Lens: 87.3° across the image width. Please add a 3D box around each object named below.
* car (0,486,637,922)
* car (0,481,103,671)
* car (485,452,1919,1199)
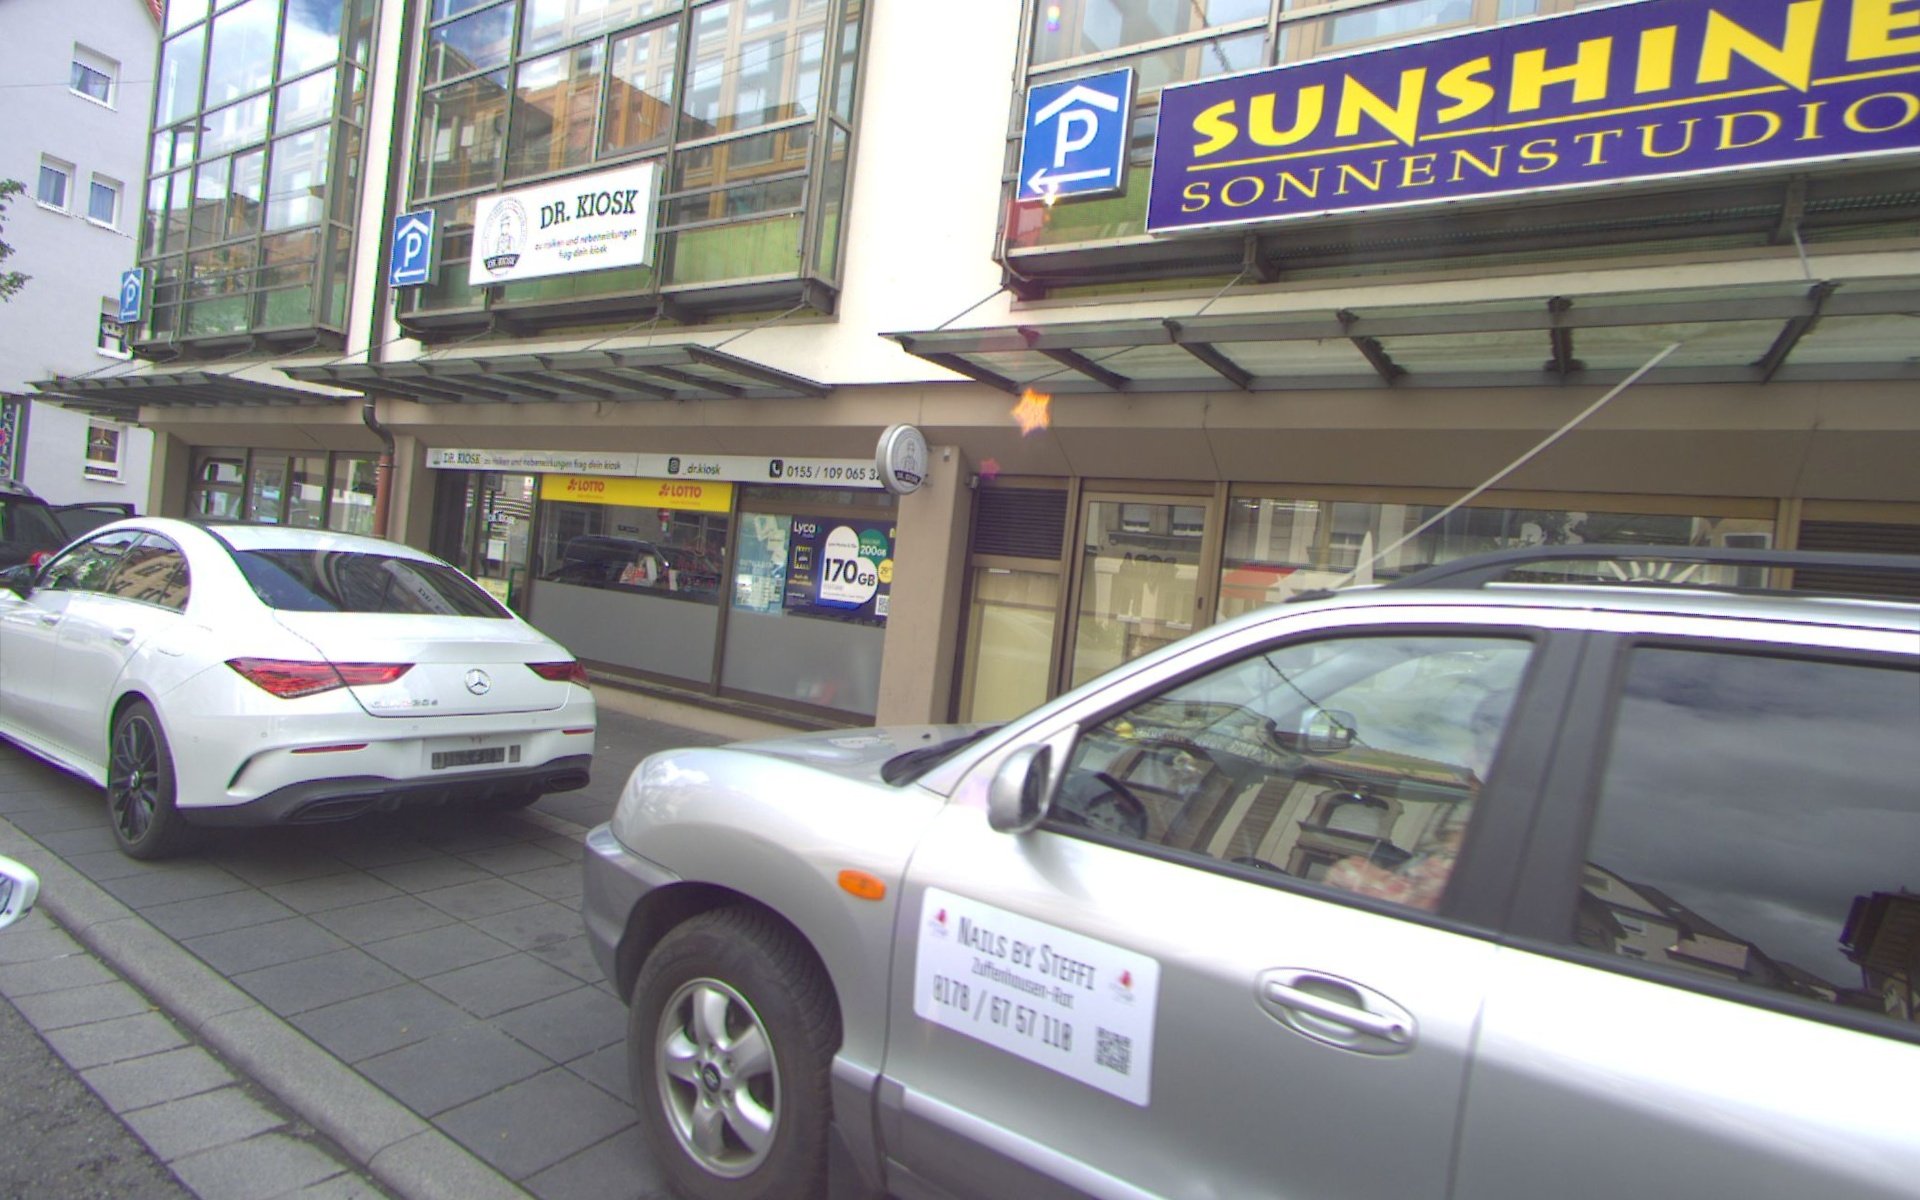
[{"bbox_3d":[-3.823,0.273,5.427,4.170,1.452,1.622,7,1,33],"label":"car"},{"bbox_3d":[-9.280,-0.418,8.775,4.107,1.452,1.607,8,1,34],"label":"car"},{"bbox_3d":[0.970,0.734,2.256,4.168,1.753,1.824,7,1,37],"label":"car"}]
